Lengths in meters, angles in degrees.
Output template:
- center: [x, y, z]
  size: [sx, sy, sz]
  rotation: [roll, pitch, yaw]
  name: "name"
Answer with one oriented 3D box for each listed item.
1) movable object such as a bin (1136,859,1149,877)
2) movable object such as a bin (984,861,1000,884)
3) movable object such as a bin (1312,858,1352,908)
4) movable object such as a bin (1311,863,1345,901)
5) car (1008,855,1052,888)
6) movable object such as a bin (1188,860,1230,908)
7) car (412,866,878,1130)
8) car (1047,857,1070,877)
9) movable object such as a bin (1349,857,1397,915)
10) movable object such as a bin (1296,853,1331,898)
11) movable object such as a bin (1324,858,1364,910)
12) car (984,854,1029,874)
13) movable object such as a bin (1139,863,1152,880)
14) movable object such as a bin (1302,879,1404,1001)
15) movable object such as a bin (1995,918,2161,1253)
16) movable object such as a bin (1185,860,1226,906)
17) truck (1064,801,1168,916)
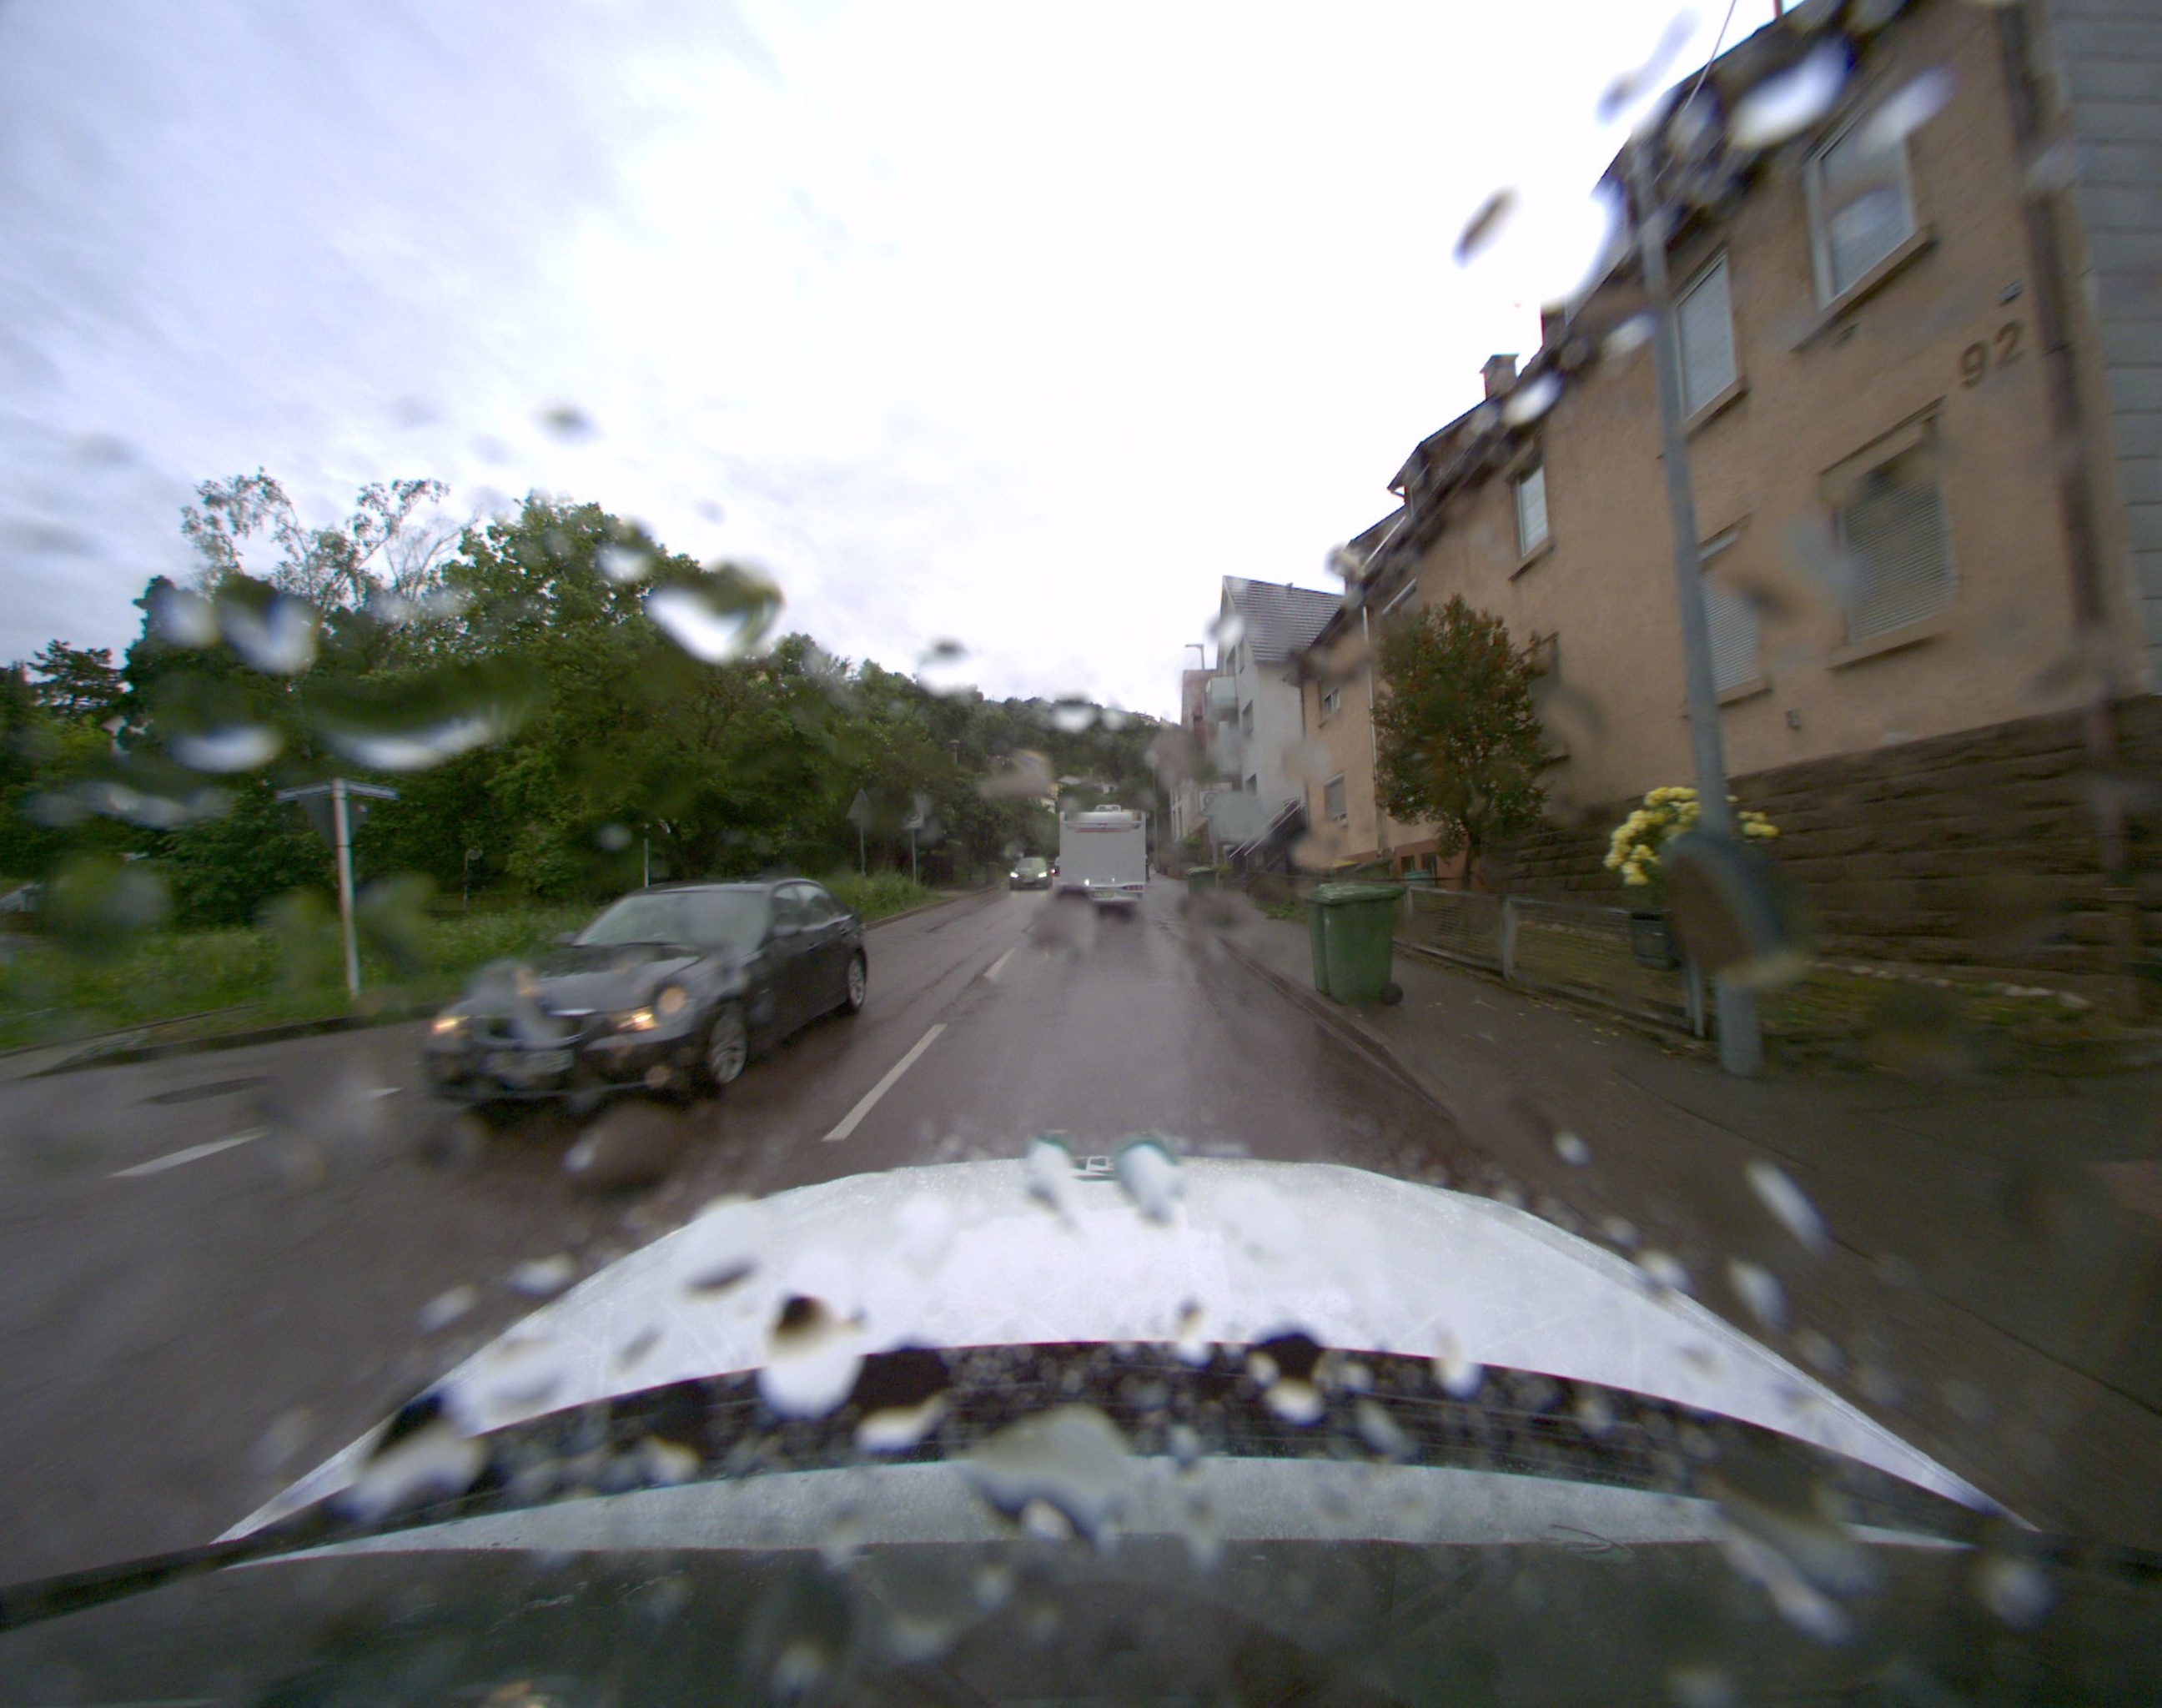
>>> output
- center: [3.912, 0.888, 52.003]
  size: [0.793, 1.070, 0.761]
  rotation: [-1, 0, 3]
  name: "movable object such as a bin"
- center: [-4.422, 0.917, 40.432]
  size: [0.718, 1.100, 0.758]
  rotation: [0, 0, 1]
  name: "movable object such as a bin"
- center: [5.932, 0.682, 19.273]
  size: [0.658, 1.093, 0.545]
  rotation: [-6, 0, -1]
  name: "movable object such as a bin"
- center: [6.063, 0.686, 20.018]
  size: [0.667, 0.895, 0.536]
  rotation: [-2, 0, 1]
  name: "movable object such as a bin"
- center: [-2.404, 0.798, 38.920]
  size: [1.712, 1.430, 3.846]
  rotation: [-2, 0, 1]
  name: "car"
- center: [3.044, 0.717, 19.491]
  size: [0.910, 1.103, 0.703]
  rotation: [-1, 0, 3]
  name: "movable object such as a bin"
- center: [-3.057, 0.874, 6.792]
  size: [1.554, 1.454, 4.086]
  rotation: [-1, 0, 2]
  name: "car"
- center: [-1.696, 0.986, 62.420]
  size: [1.613, 1.441, 3.737]
  rotation: [-1, 0, 0]
  name: "car"
- center: [5.969, 0.643, 16.662]
  size: [0.658, 1.093, 0.655]
  rotation: [-5, 0, -1]
  name: "movable object such as a bin"
- center: [6.017, 0.553, 21.092]
  size: [0.658, 1.093, 0.545]
  rotation: [-6, 0, -1]
  name: "movable object such as a bin"
- center: [6.004, 0.679, 18.617]
  size: [0.643, 1.093, 0.545]
  rotation: [-6, 0, -1]
  name: "movable object such as a bin"
- center: [-7.260, 0.980, 79.984]
  size: [4.089, 1.800, 2.002]
  rotation: [-1, 0, 3]
  name: "car"
- center: [3.530, 0.940, 44.567]
  size: [0.628, 0.897, 0.712]
  rotation: [-1, 0, 1]
  name: "movable object such as a bin"
- center: [2.543, 0.782, 7.690]
  size: [0.717, 1.052, 0.801]
  rotation: [-1, 0, 4]
  name: "movable object such as a bin"
- center: [3.610, 0.752, 2.794]
  size: [0.378, 1.018, 0.487]
  rotation: [-1, 0, 2]
  name: "movable object such as a bin"
- center: [3.084, 0.719, 20.238]
  size: [0.910, 1.103, 0.703]
  rotation: [-1, 0, 3]
  name: "movable object such as a bin"
- center: [0.917, 0.118, 23.299]
  size: [2.507, 2.817, 6.202]
  rotation: [-1, 0, 1]
  name: "truck"
